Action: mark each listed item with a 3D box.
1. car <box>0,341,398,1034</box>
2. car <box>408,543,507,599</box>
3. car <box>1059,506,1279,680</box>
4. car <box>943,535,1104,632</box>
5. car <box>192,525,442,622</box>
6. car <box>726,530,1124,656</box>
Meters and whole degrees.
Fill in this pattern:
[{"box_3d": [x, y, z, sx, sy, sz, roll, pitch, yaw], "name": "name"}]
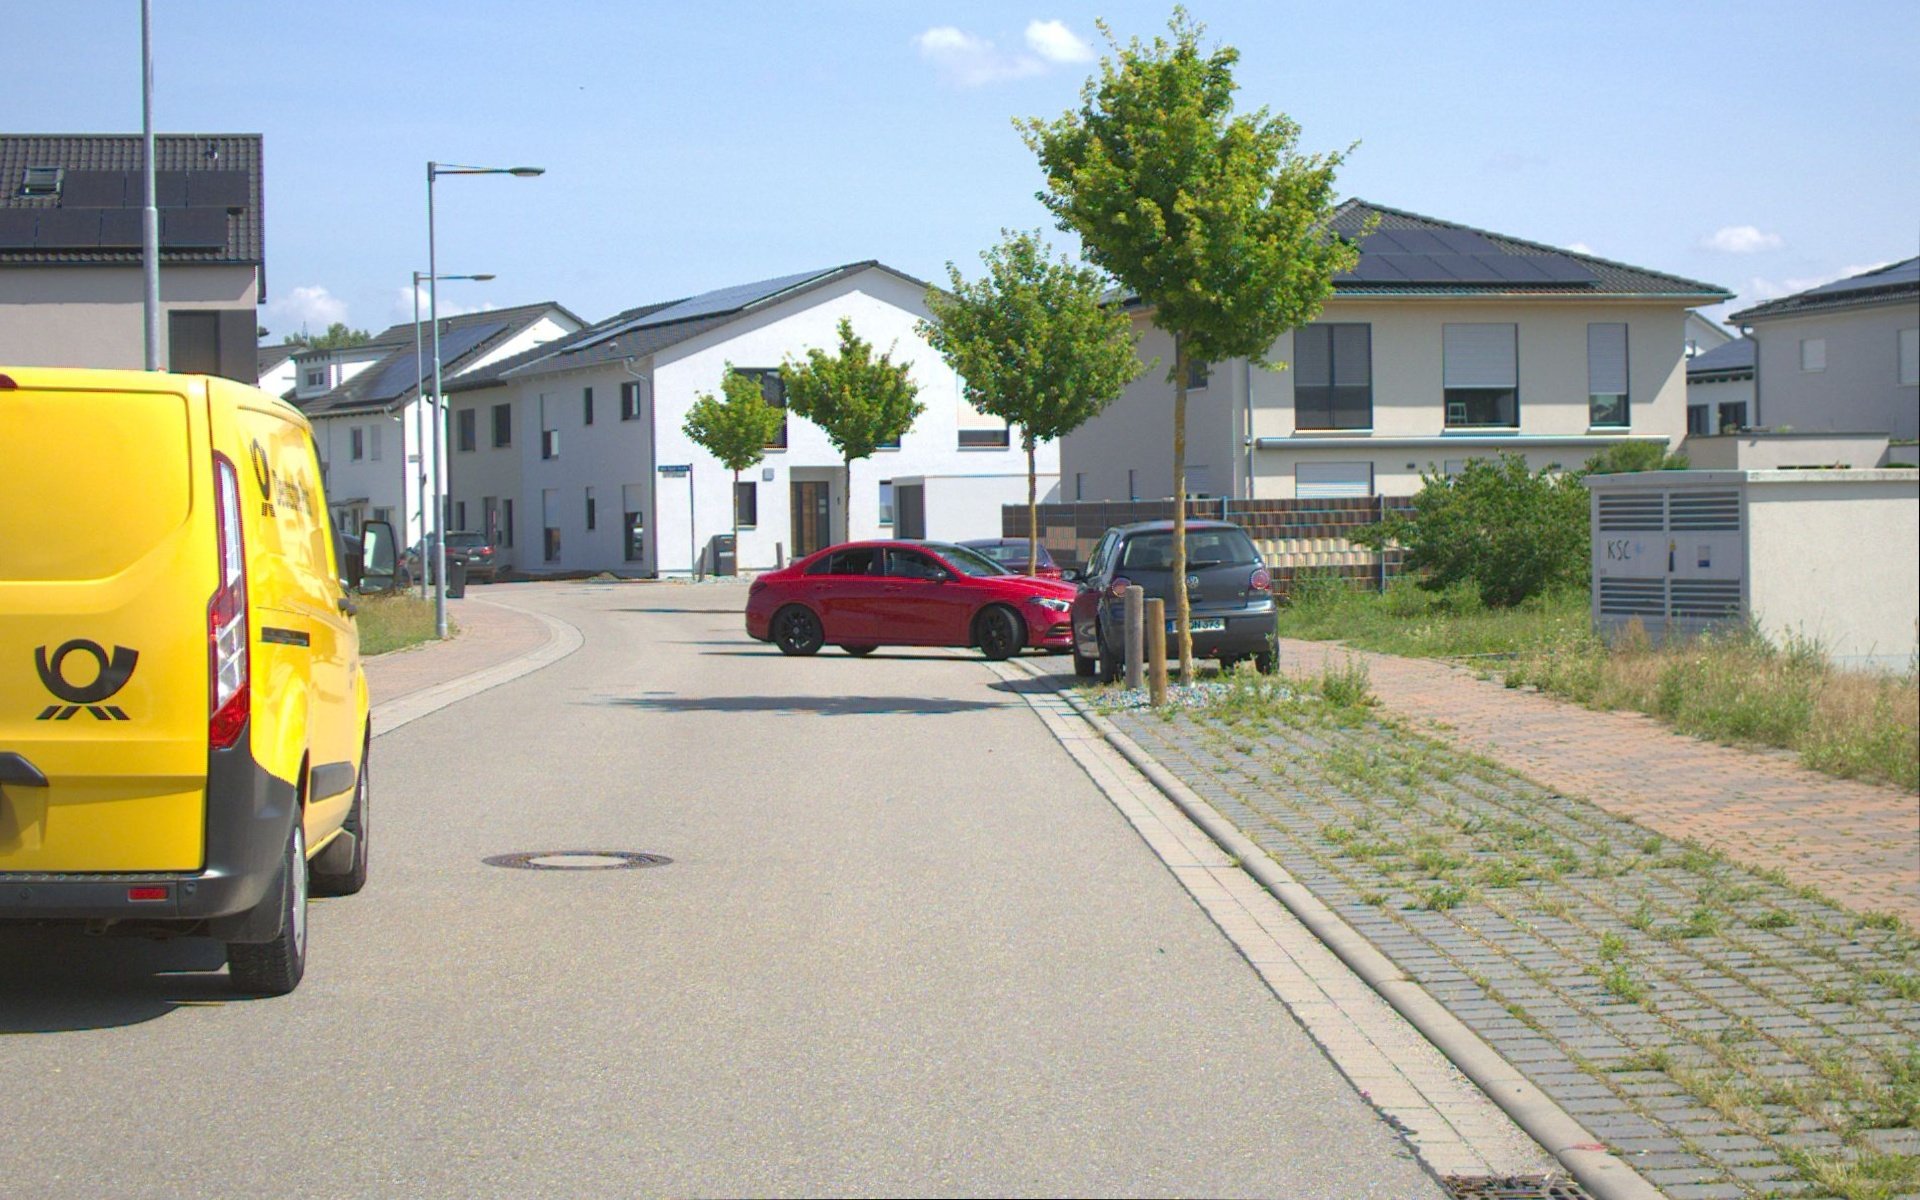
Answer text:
[{"box_3d": [-3.159, 0.224, 12.416, 1.883, 2.007, 4.842, -2, 1, -6], "name": "car"}, {"box_3d": [-13.580, -0.801, 92.767, 1.726, 1.418, 4.001, -2, 1, -22], "name": "car"}, {"box_3d": [1.906, -0.101, 32.292, 1.598, 1.470, 3.675, -2, 1, -3], "name": "car"}, {"box_3d": [0.895, -0.272, 51.264, 1.754, 1.358, 4.577, 0, 1, -7], "name": "car"}, {"box_3d": [-11.714, -0.487, 62.765, 4.374, 1.626, 1.771, 2, 1, -10], "name": "car"}, {"box_3d": [-0.433, -0.115, 41.677, 4.511, 1.433, 1.766, 1, 1, 25], "name": "car"}]
